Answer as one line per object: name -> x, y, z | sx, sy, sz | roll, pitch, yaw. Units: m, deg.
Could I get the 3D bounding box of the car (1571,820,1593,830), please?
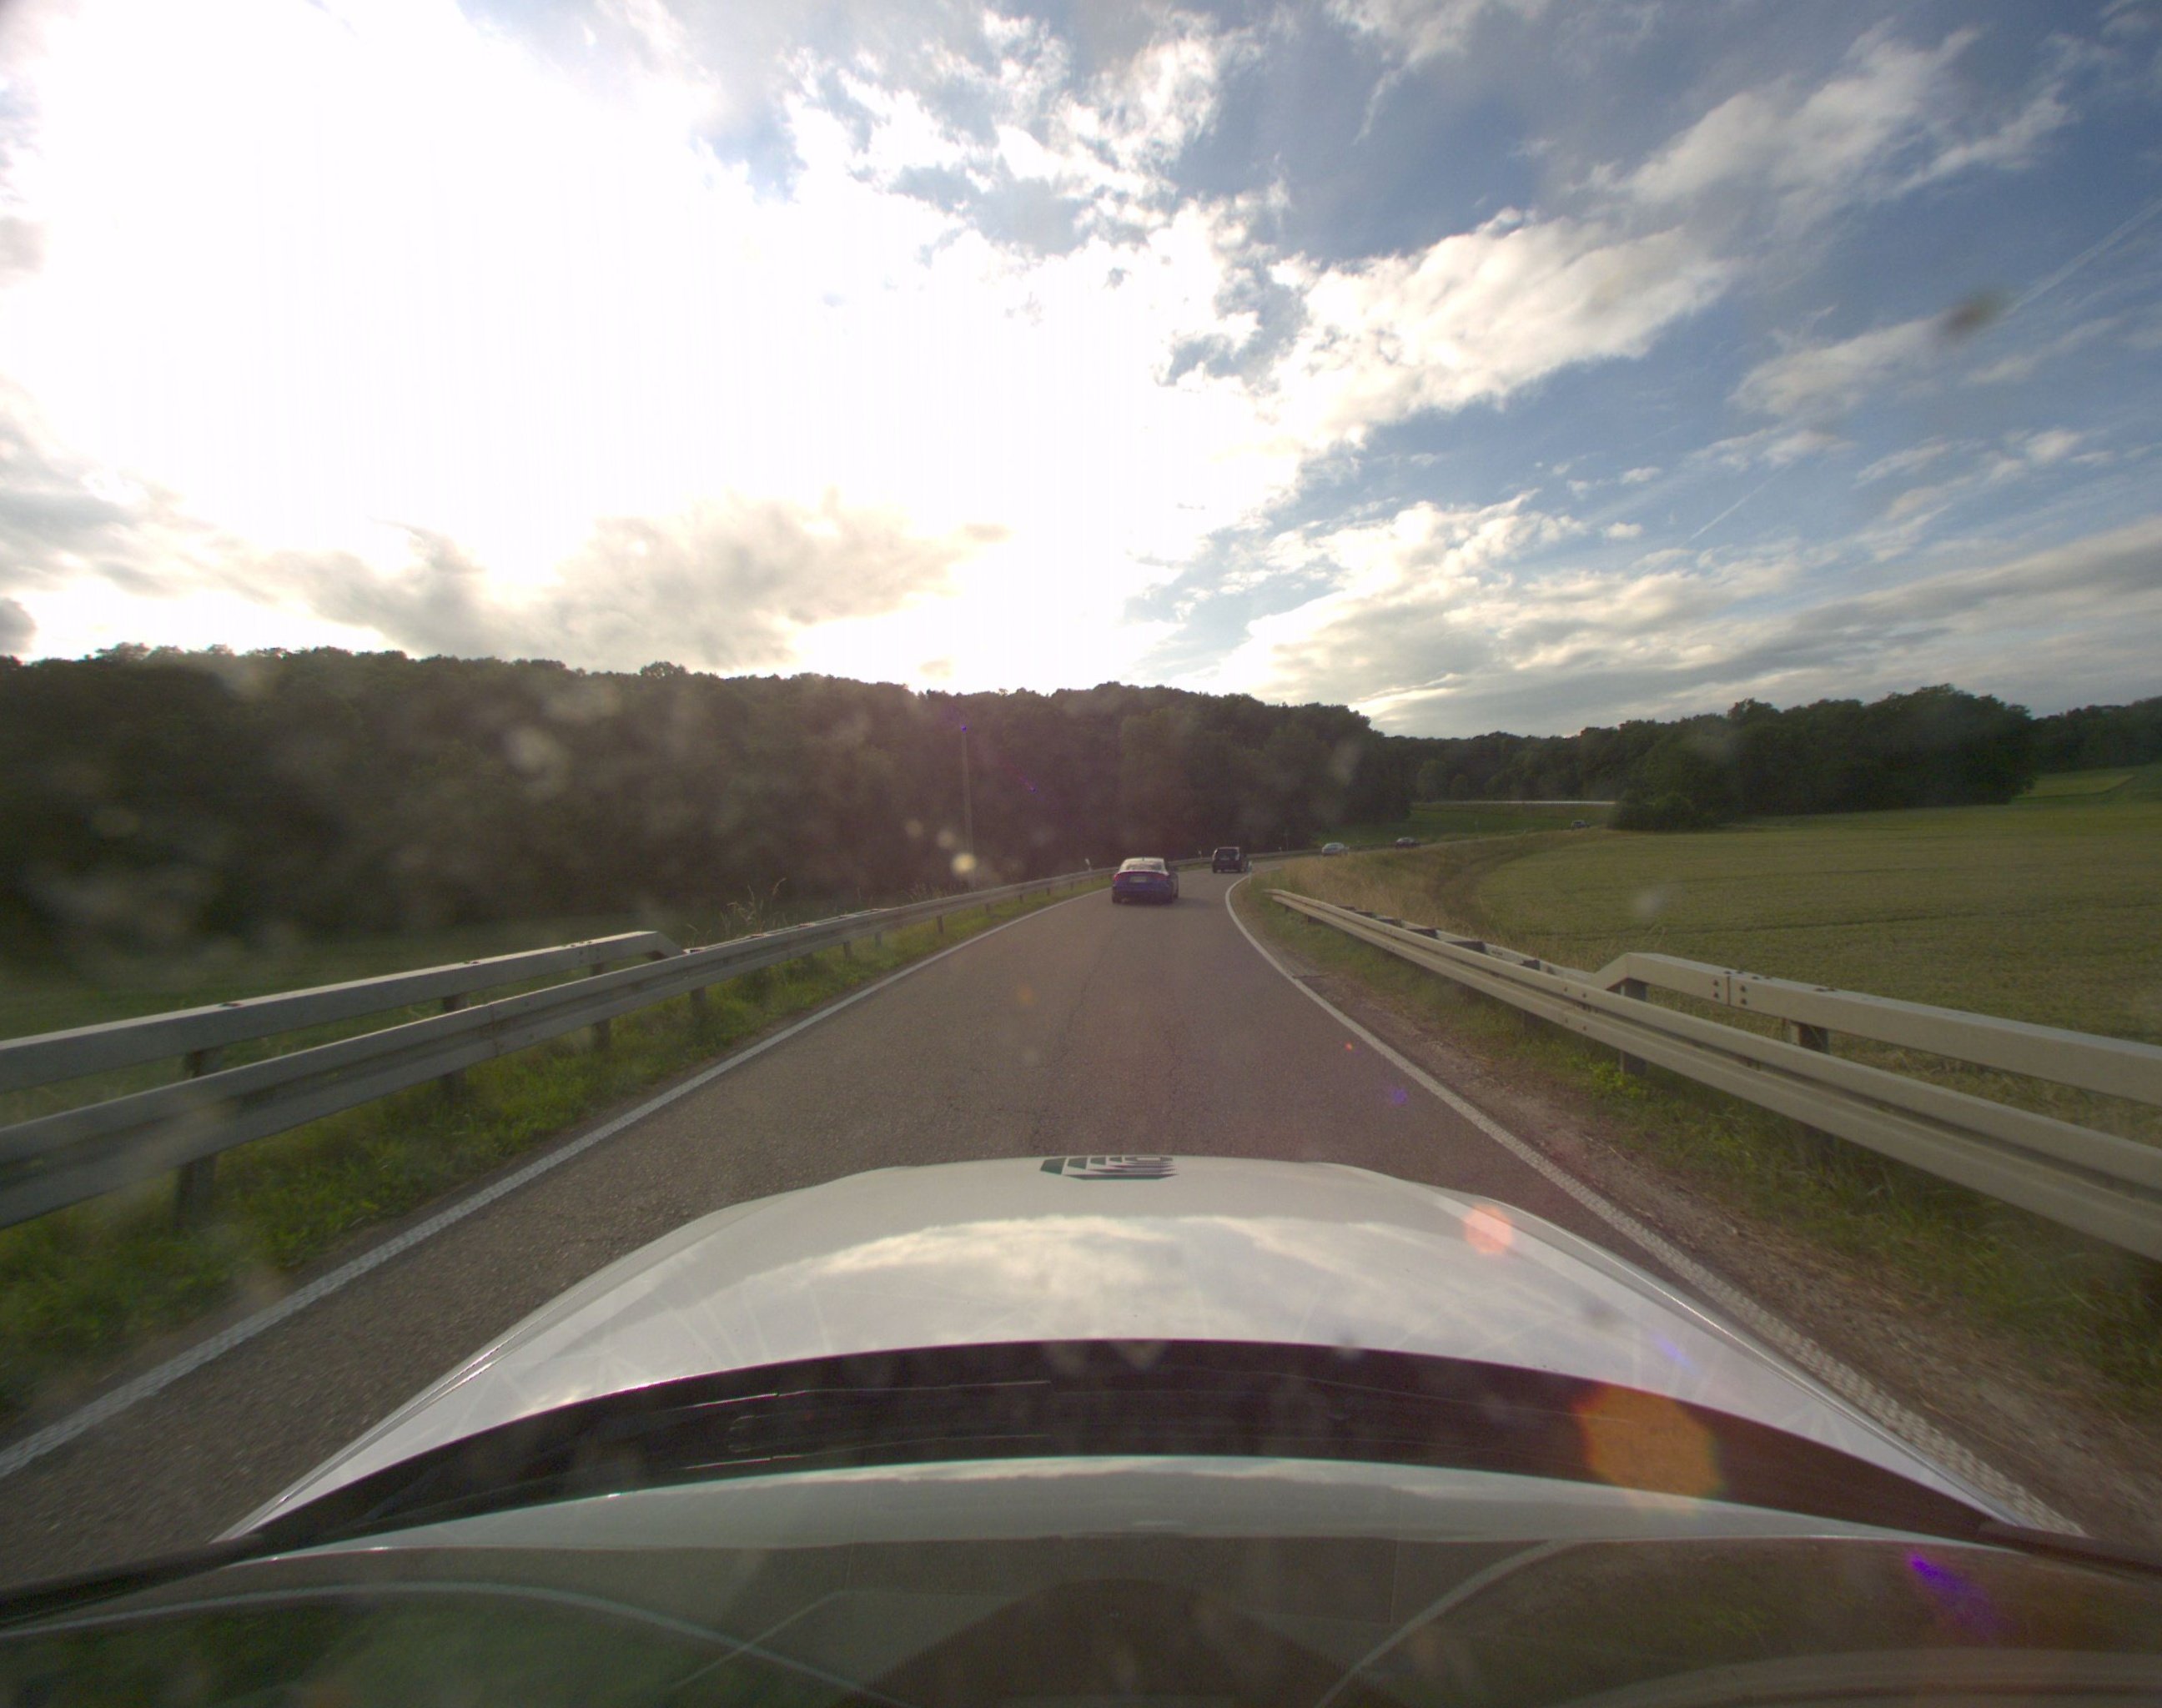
car -> 88.367, -5.118, 143.497 | 4.199, 1.679, 1.977 | -2, 1, -39

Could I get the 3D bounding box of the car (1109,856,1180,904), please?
car -> 2.087, 0.759, 25.629 | 1.807, 1.339, 4.362 | -1, 0, 10

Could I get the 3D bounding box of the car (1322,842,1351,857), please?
car -> 26.509, -0.518, 84.323 | 1.666, 1.376, 4.026 | -4, -1, 35

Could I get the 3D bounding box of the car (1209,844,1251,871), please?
car -> 9.519, 0.199, 51.800 | 1.846, 1.568, 4.022 | 1, 1, 22

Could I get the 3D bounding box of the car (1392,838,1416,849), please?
car -> 40.319, -1.312, 101.731 | 3.319, 1.227, 1.457 | -4, 0, -44
